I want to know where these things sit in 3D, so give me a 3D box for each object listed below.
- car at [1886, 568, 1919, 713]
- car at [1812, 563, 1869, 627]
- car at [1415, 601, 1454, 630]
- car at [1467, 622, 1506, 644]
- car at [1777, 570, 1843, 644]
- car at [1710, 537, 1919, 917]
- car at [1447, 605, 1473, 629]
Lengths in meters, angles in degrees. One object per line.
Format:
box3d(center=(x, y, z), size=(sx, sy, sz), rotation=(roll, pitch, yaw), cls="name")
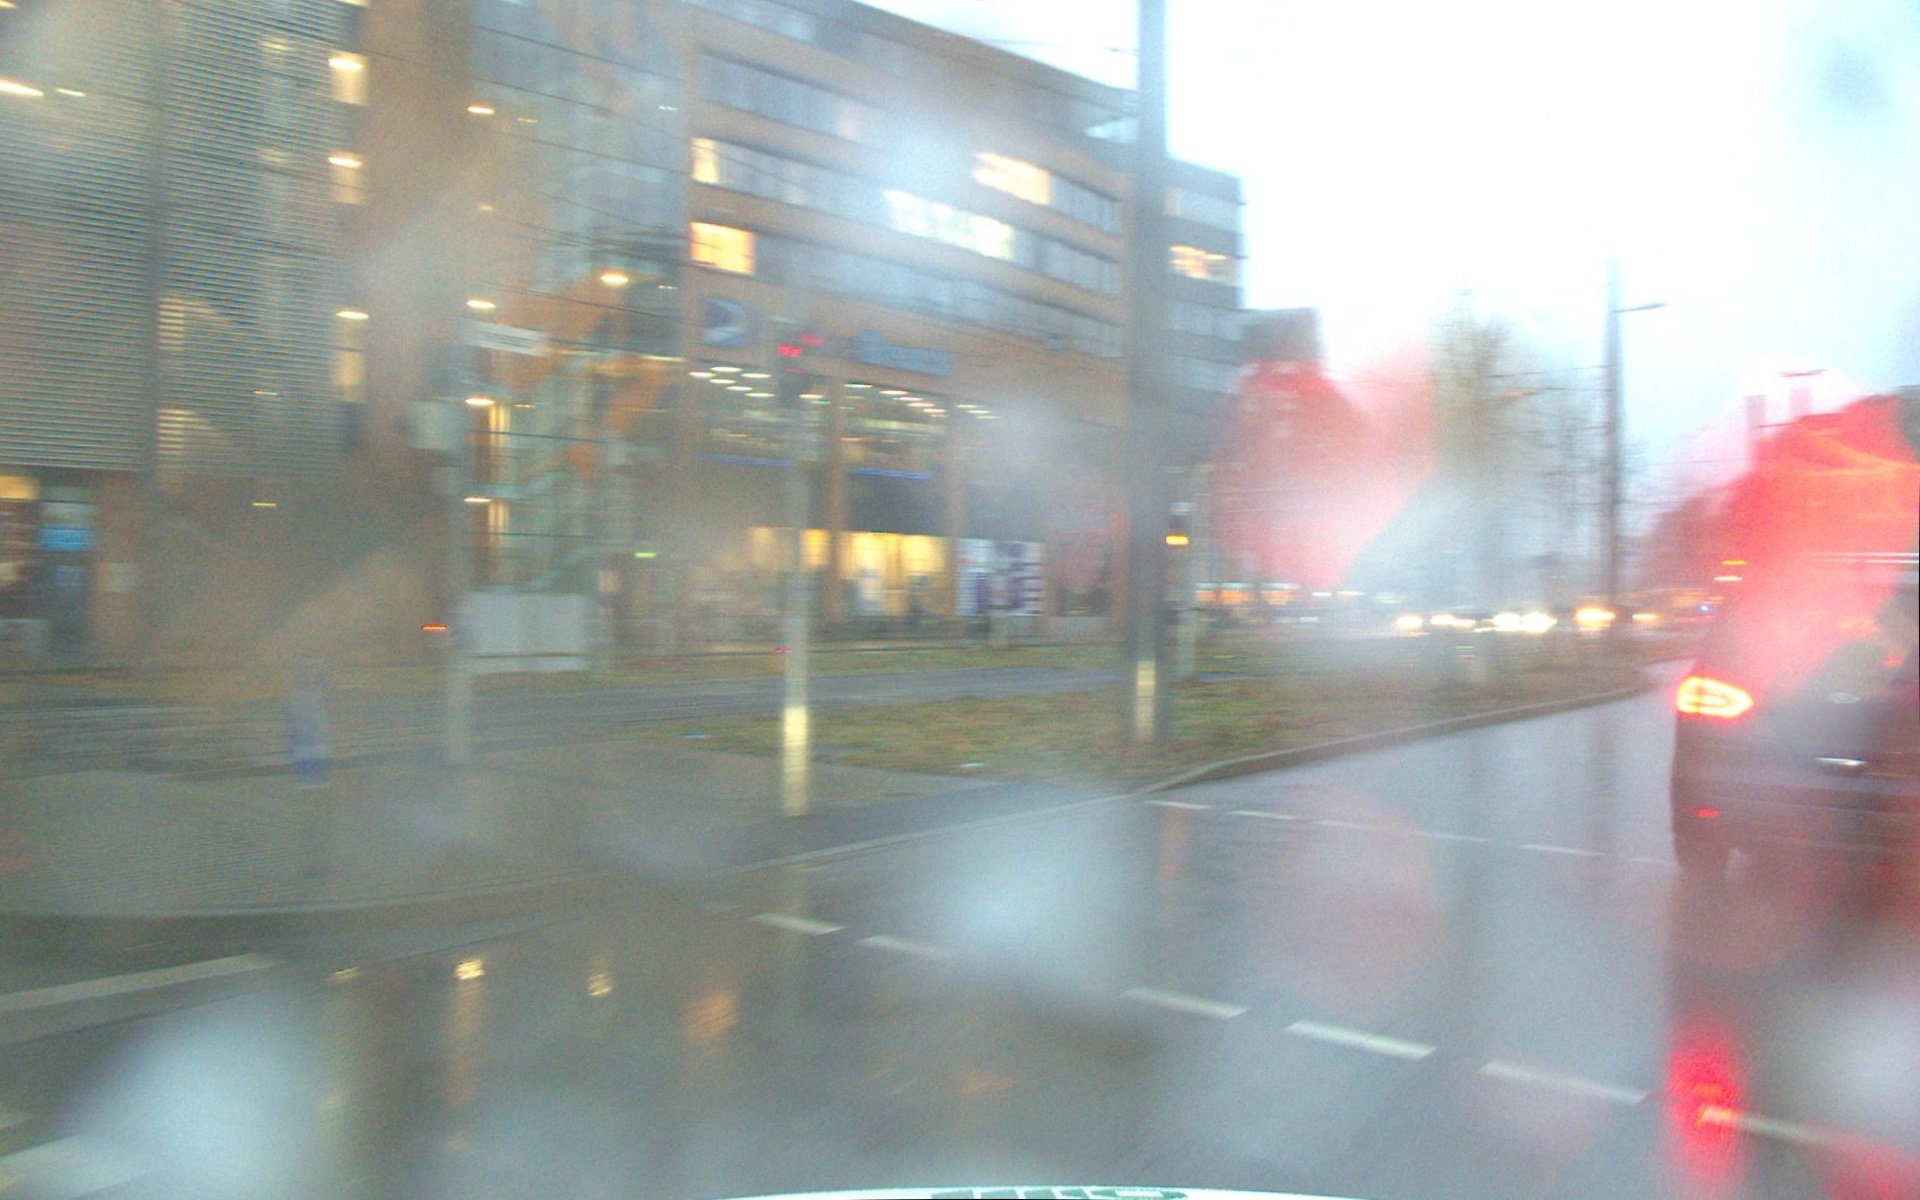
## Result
box3d(center=(13.769, 0.526, 22.502), size=(1.810, 1.837, 4.475), rotation=(0, 0, 32), cls="car")
box3d(center=(41.699, -0.200, 78.251), size=(2.310, 2.876, 6.348), rotation=(0, 0, 29), cls="car")
box3d(center=(25.355, 0.824, 88.259), size=(1.777, 1.467, 3.957), rotation=(0, 0, 20), cls="car")
box3d(center=(36.782, 2.294, 115.482), size=(1.698, 1.417, 4.188), rotation=(0, 0, 32), cls="car")
box3d(center=(29.821, 0.243, 58.021), size=(1.955, 2.470, 5.966), rotation=(0, 0, 27), cls="car")
box3d(center=(5.570, 0.610, 9.618), size=(1.644, 1.811, 3.989), rotation=(1, 0, 33), cls="car")
box3d(center=(30.683, 1.068, 101.529), size=(1.474, 1.397, 3.654), rotation=(0, -1, 17), cls="car")
